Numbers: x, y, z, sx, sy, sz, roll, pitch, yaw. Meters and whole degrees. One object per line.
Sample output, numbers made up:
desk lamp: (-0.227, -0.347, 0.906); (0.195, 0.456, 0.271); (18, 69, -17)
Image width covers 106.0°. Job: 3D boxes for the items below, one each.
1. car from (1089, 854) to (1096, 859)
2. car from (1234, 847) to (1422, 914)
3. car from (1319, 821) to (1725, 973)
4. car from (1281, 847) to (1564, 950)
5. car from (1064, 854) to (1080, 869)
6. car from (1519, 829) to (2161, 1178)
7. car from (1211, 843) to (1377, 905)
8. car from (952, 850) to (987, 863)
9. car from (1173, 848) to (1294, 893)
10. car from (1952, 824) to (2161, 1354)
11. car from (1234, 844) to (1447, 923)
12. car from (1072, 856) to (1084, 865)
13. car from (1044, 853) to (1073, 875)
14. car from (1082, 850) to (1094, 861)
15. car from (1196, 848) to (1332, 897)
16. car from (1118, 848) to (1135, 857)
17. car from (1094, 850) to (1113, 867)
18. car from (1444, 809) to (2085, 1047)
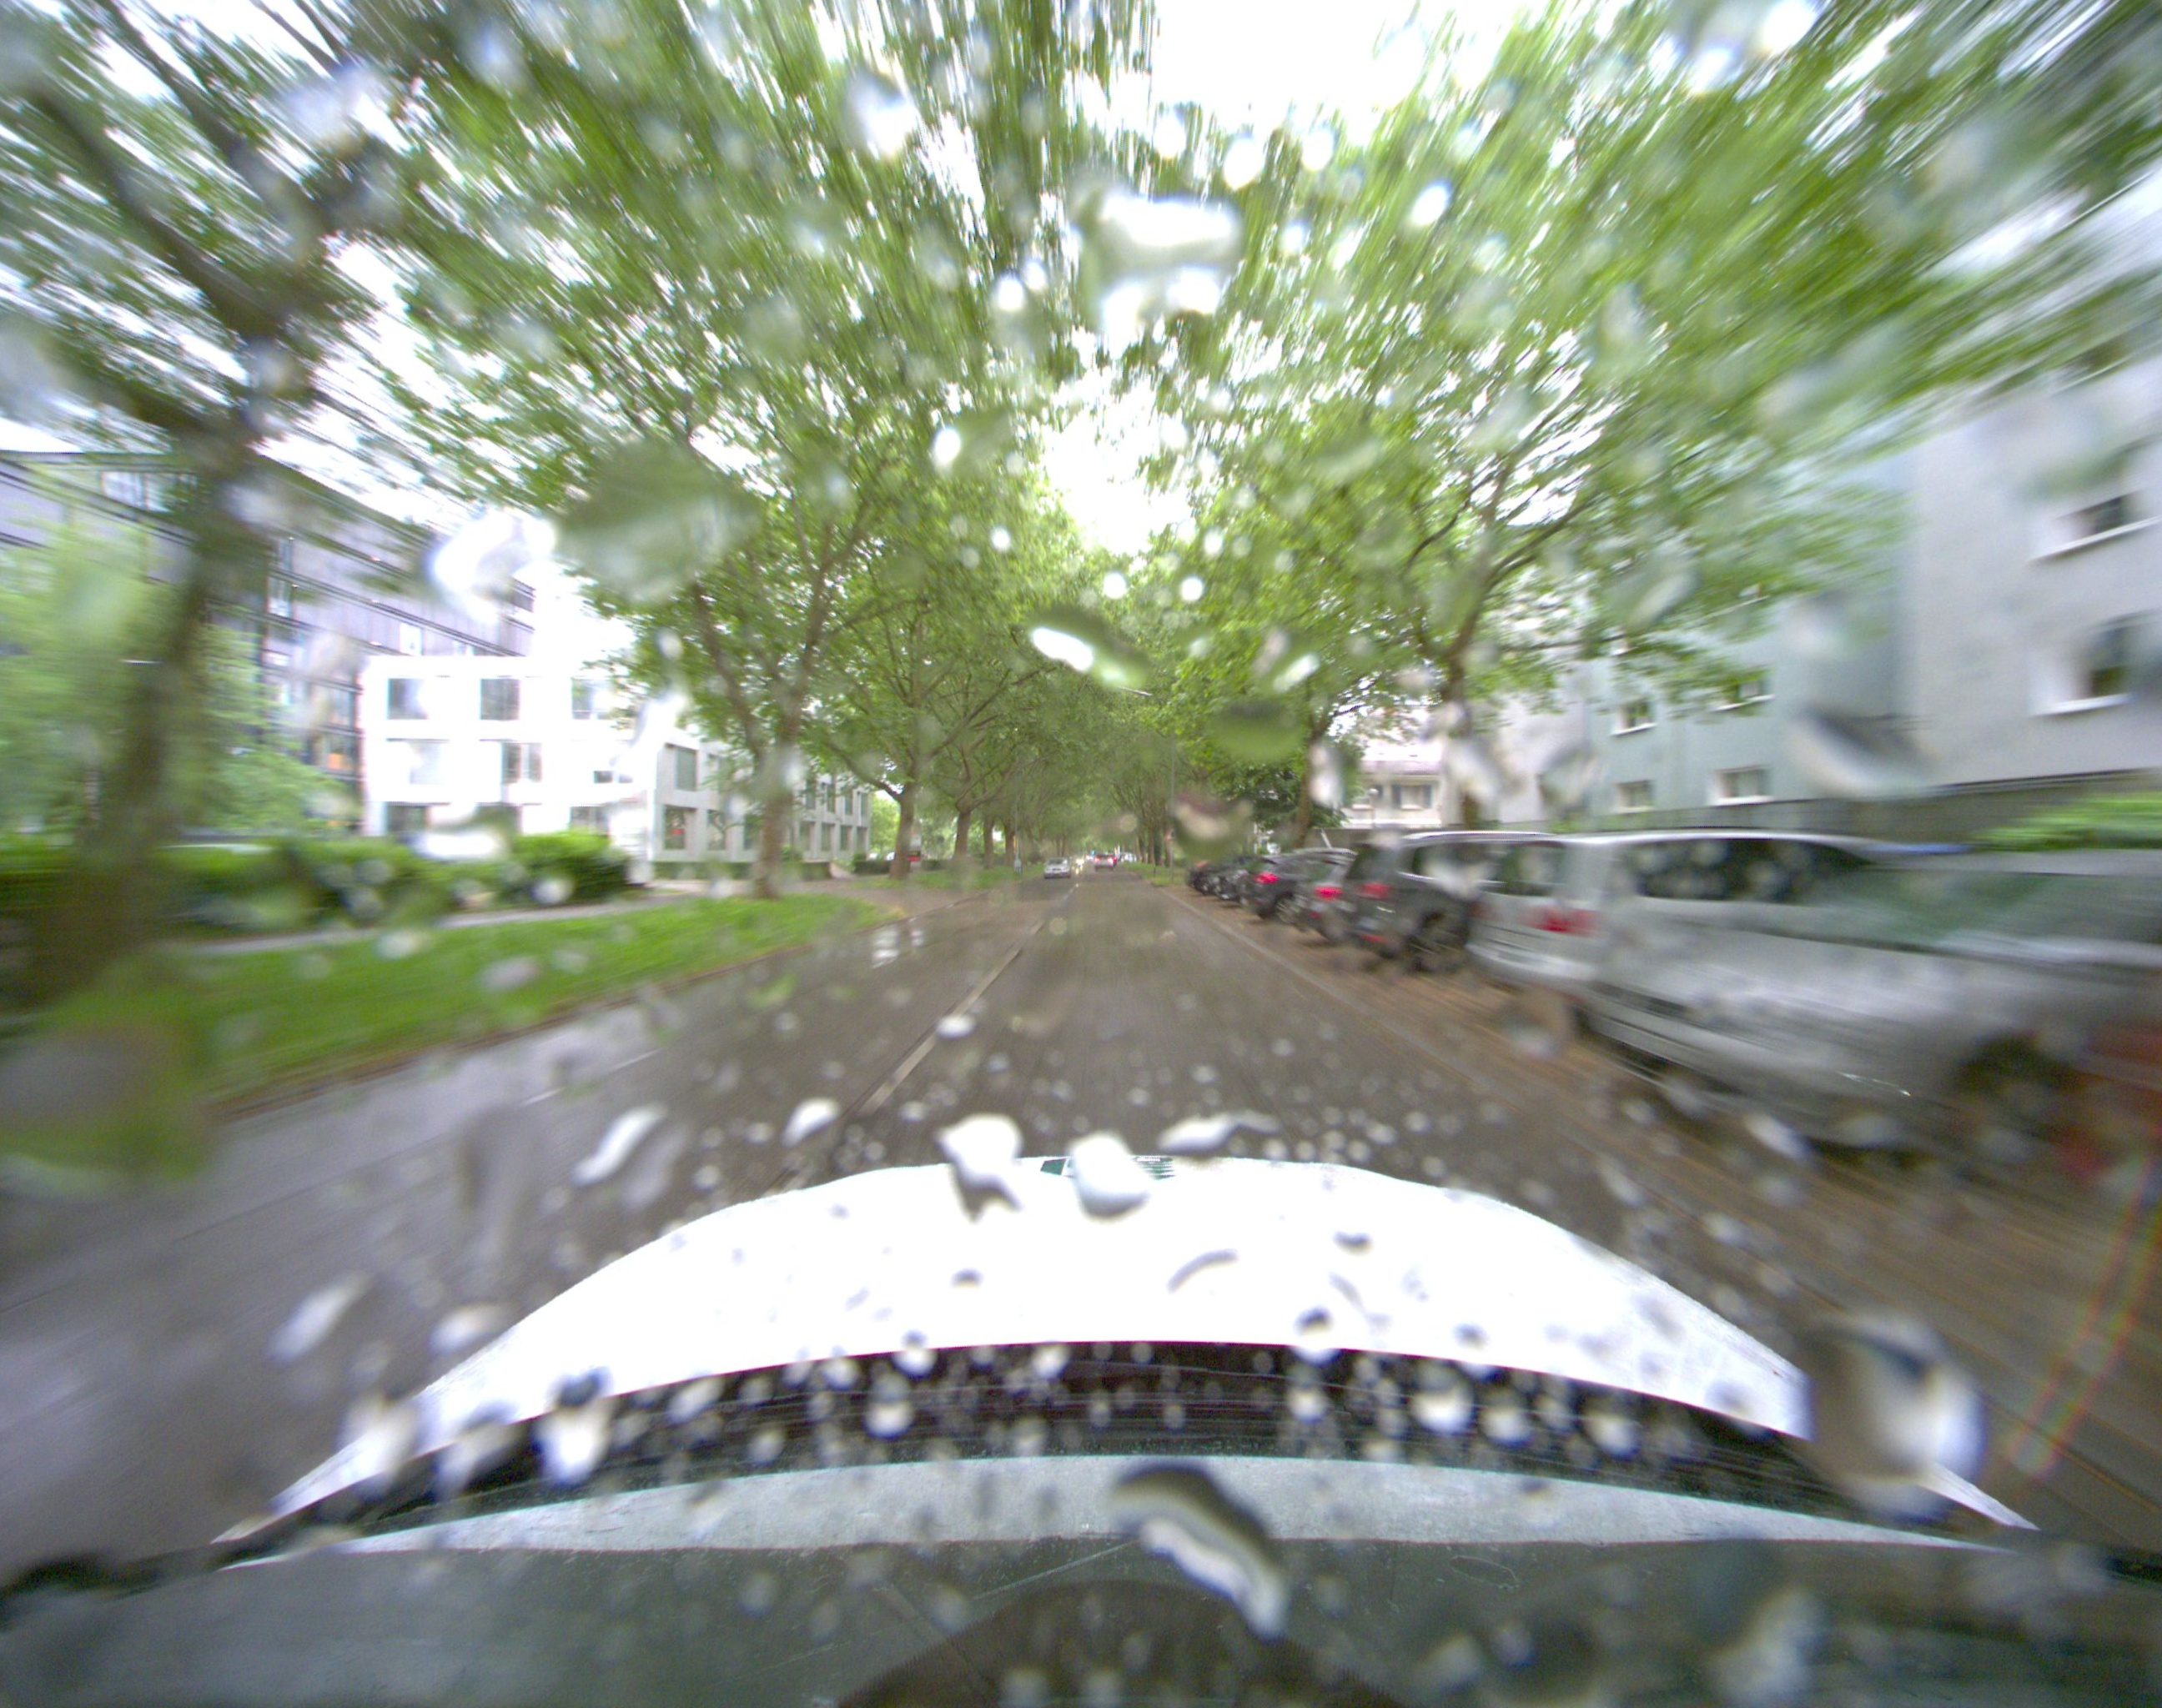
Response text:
car: (2.966, 0.727, 215.499); (1.713, 1.255, 4.002); (1, 1, 2)
car: (6.065, 0.632, 20.330); (4.198, 1.584, 1.746); (0, 0, -1)
car: (5.520, 0.504, 10.638); (4.321, 1.762, 1.819); (1, 0, 1)
car: (5.457, 0.673, 13.377); (3.972, 1.537, 1.632); (1, 0, 1)
car: (-1.034, 0.942, 98.748); (1.803, 1.684, 4.449); (-2, 0, 1)
car: (4.869, 0.661, 4.476); (3.974, 1.513, 1.801); (1, 0, 0)
car: (5.882, 0.524, 22.866); (4.195, 1.655, 1.914); (0, 0, 0)
car: (-13.481, 0.314, 98.759); (3.972, 1.623, 2.001); (0, 0, 2)
car: (5.484, 0.571, 29.611); (4.085, 1.513, 1.865); (-1, 0, 2)
car: (4.938, 0.630, 1.949); (3.686, 1.536, 1.740); (-2, 0, 4)
car: (5.487, 0.599, 17.546); (4.024, 1.441, 1.685); (-3, 1, -2)
car: (-0.443, 0.987, 119.972); (1.700, 1.250, 3.646); (-2, 0, 2)
car: (-1.519, 0.681, 57.084); (1.672, 1.388, 4.552); (-1, 0, 2)
car: (1.009, 0.234, 116.756); (1.700, 1.411, 3.646); (-2, 0, 2)
car: (5.877, 0.579, 26.466); (4.029, 1.530, 1.780); (0, 0, -1)
car: (9.772, -0.371, 174.098); (3.536, 1.841, 1.711); (-2, 0, -1)
car: (2.063, 0.416, 74.313); (1.700, 1.411, 3.646); (-2, 0, 2)
car: (5.505, 0.540, 7.010); (3.971, 1.727, 1.802); (1, 0, 2)
